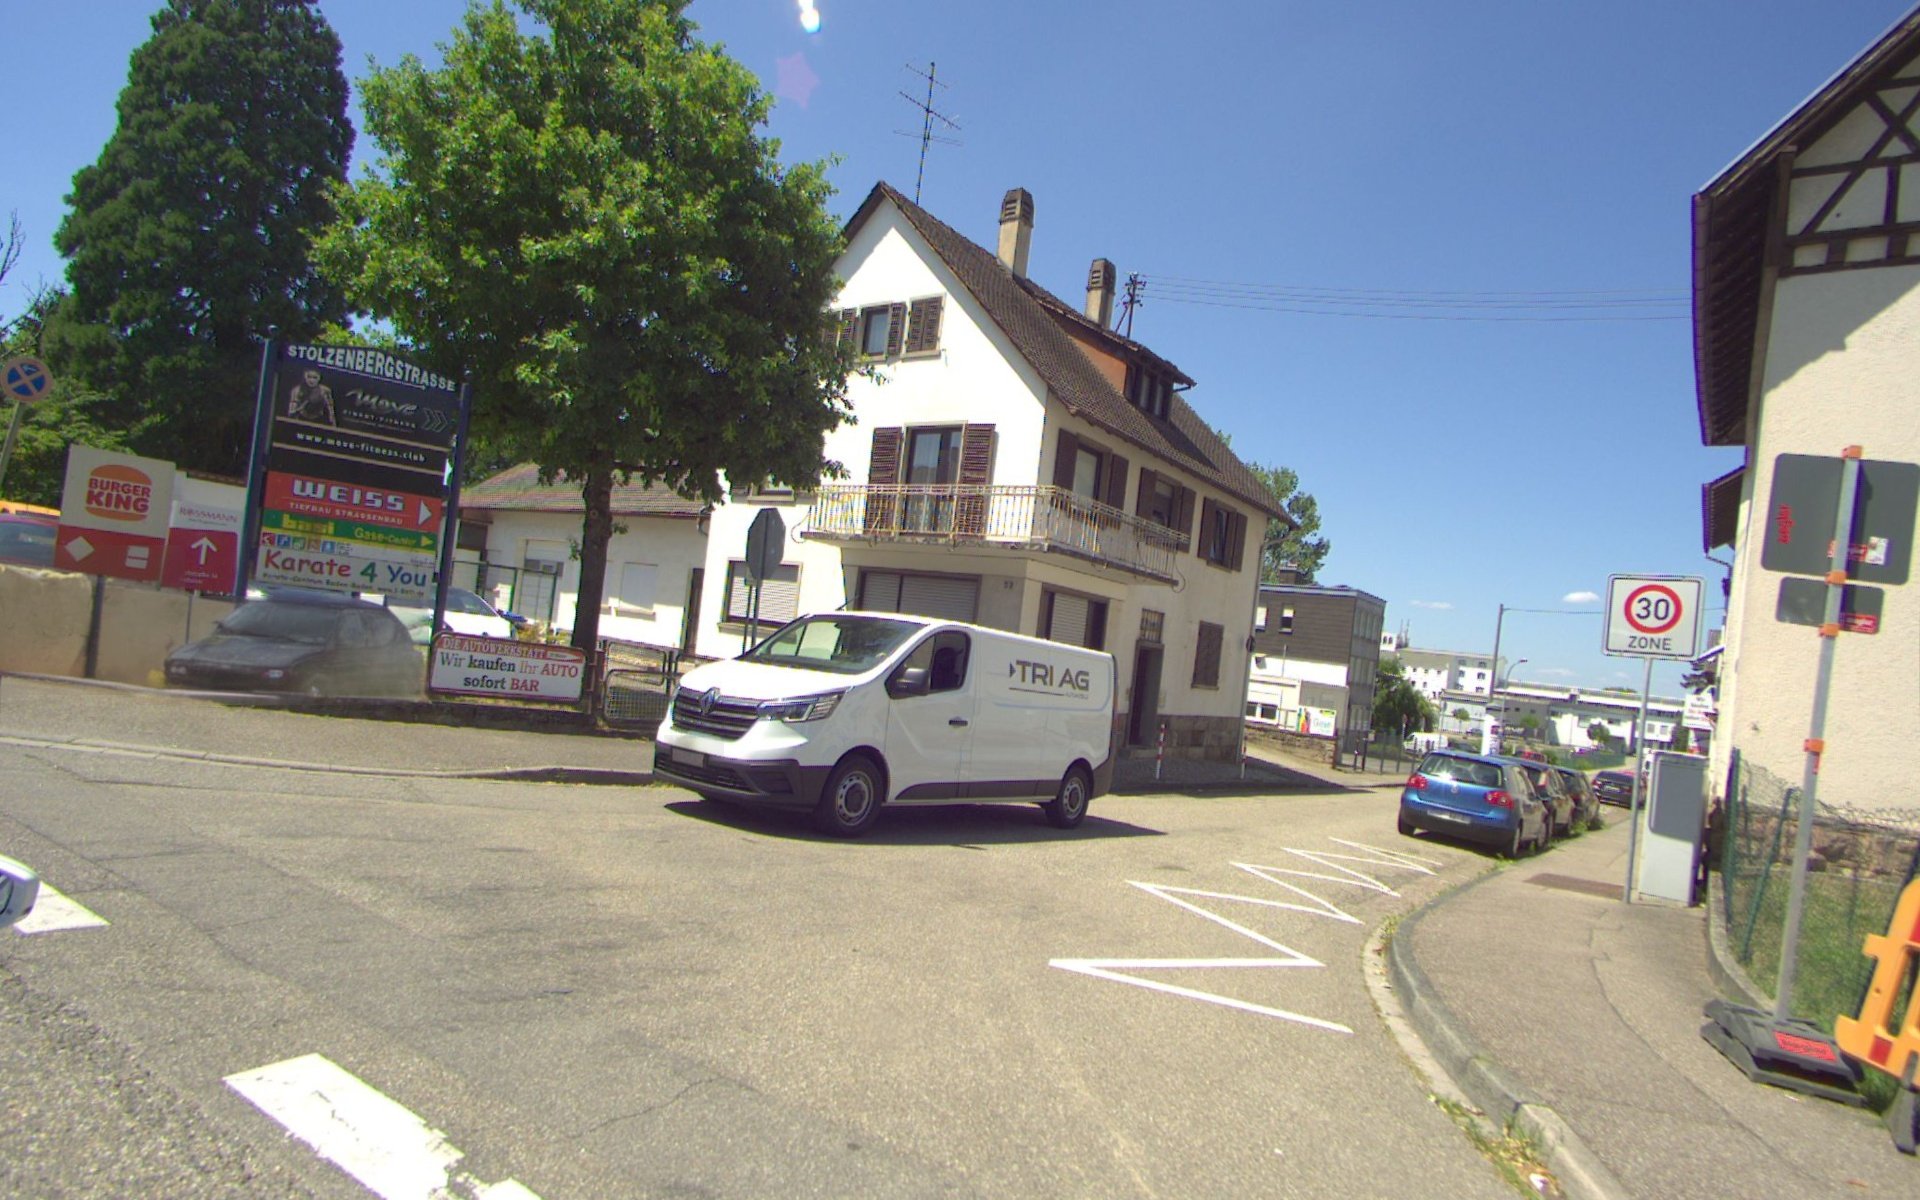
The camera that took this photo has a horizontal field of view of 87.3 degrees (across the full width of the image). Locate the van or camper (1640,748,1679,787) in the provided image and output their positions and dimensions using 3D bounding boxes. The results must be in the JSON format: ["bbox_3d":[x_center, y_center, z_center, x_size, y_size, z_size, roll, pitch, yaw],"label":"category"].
[{"bbox_3d":[55.299,13.264,79.497,2.191,2.626,5.024,7,-4,36],"label":"van or camper"}]

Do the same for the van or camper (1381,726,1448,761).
[{"bbox_3d":[32.341,10.196,71.717,3.839,1.794,1.807,8,-3,12],"label":"van or camper"}]

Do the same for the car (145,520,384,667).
[{"bbox_3d":[-10.648,-0.156,15.282,4.396,1.683,1.712,6,-4,40],"label":"car"}]

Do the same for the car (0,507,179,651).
[{"bbox_3d":[-12.037,-0.362,13.263,3.781,1.541,1.712,6,-2,37],"label":"car"}]

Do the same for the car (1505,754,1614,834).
[{"bbox_3d":[14.699,4.702,24.576,1.788,1.459,3.890,6,-4,37],"label":"car"}]

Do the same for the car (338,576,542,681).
[{"bbox_3d":[-8.832,0.463,17.016,3.334,1.284,1.713,6,-3,38],"label":"car"}]

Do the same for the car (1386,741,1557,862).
[{"bbox_3d":[8.610,3.298,16.753,1.788,1.459,3.890,6,-4,37],"label":"car"}]

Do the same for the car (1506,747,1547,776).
[{"bbox_3d":[41.498,11.832,73.769,1.773,1.673,3.906,7,-4,19],"label":"car"}]

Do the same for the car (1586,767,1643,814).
[{"bbox_3d":[27.669,8.036,42.579,1.799,1.562,3.398,7,-4,34],"label":"car"}]

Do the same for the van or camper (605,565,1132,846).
[{"bbox_3d":[-0.508,1.140,10.051,1.971,1.998,5.352,4,-6,38],"label":"van or camper"}]

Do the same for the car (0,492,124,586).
[{"bbox_3d":[-23.160,-1.592,25.221,4.094,1.817,1.782,7,-5,29],"label":"car"}]

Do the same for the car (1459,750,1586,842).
[{"bbox_3d":[11.971,4.109,21.304,1.788,1.459,3.622,6,-4,37],"label":"car"}]

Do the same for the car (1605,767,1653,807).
[{"bbox_3d":[33.218,9.260,50.008,1.799,1.562,3.398,7,-4,34],"label":"car"}]

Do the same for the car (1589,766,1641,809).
[{"bbox_3d":[30.224,8.611,46.441,1.799,1.562,3.398,7,-4,34],"label":"car"}]
